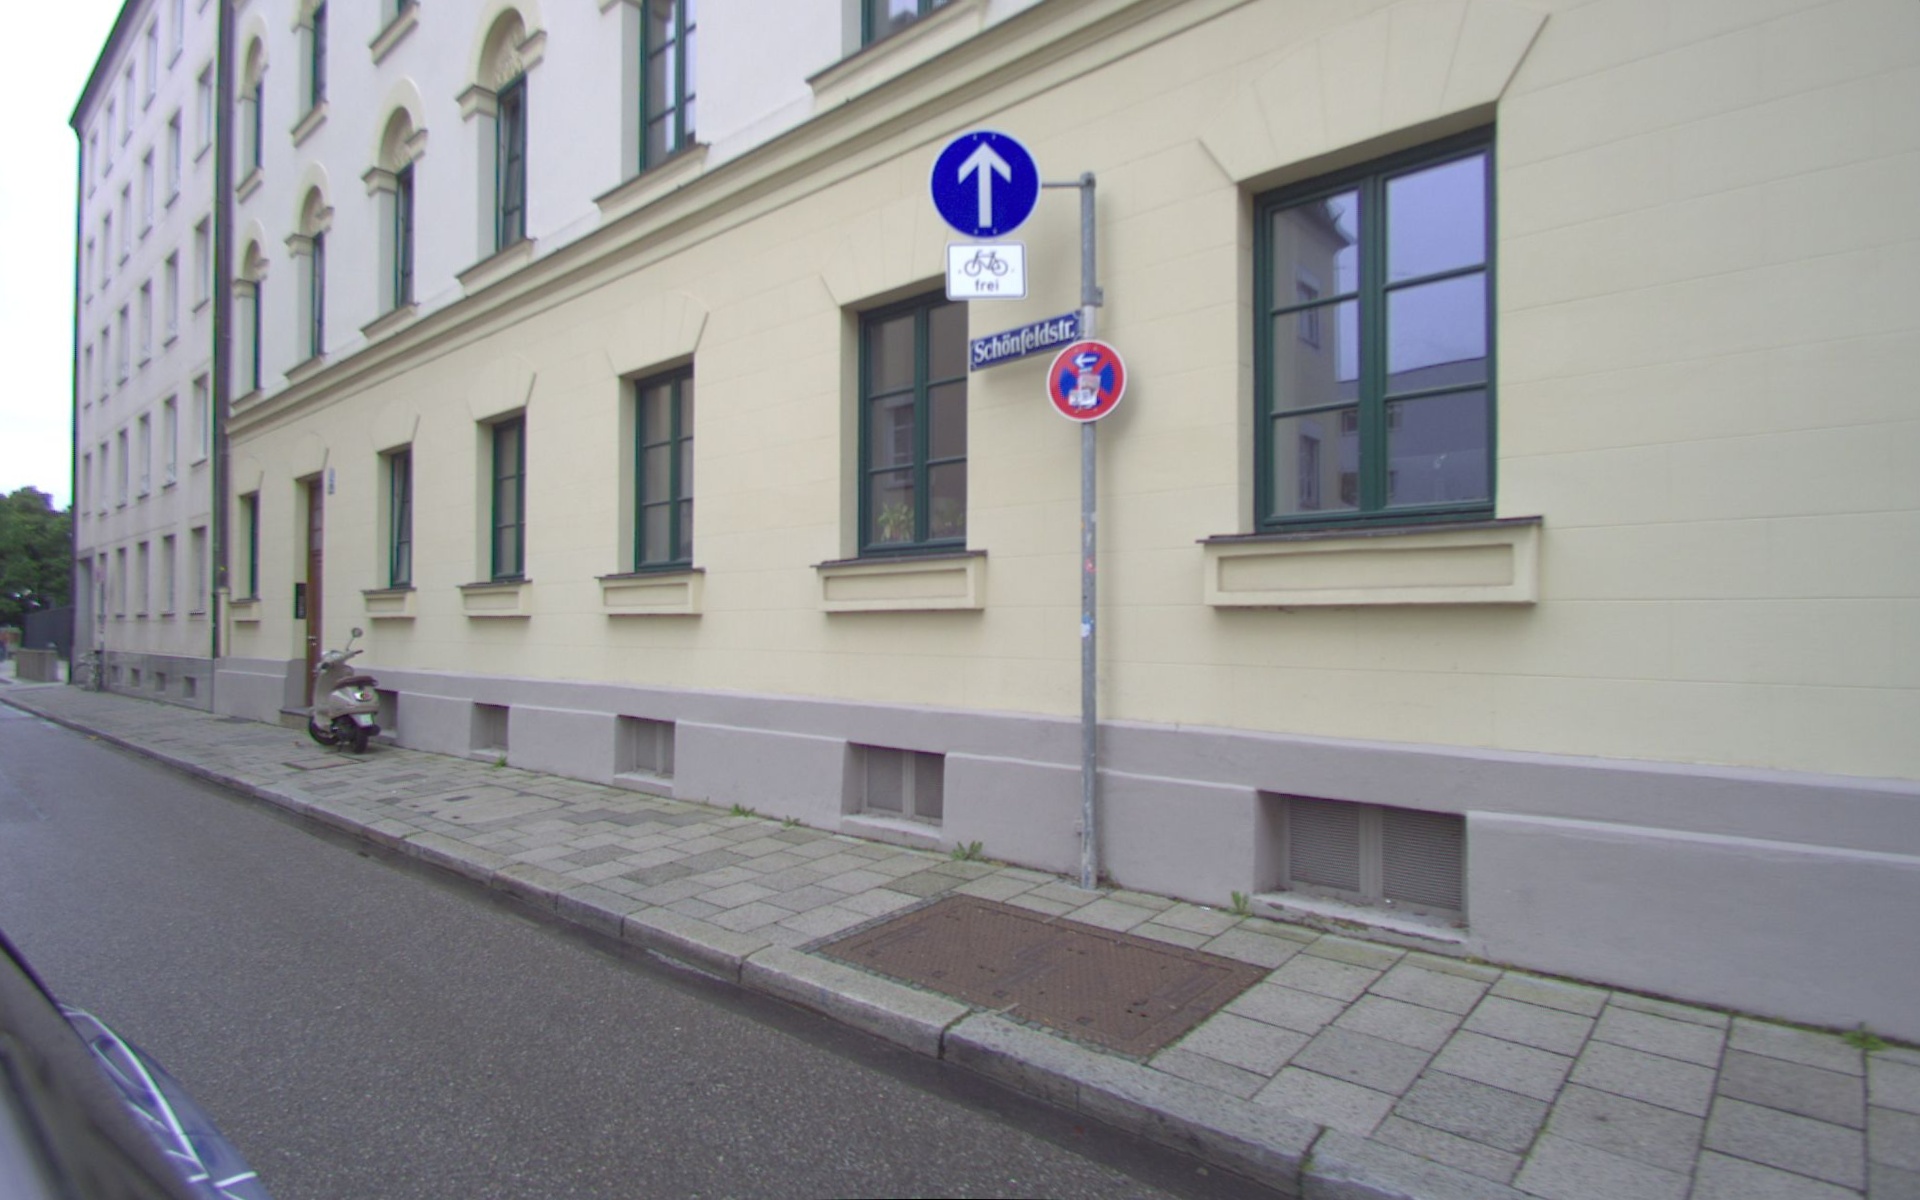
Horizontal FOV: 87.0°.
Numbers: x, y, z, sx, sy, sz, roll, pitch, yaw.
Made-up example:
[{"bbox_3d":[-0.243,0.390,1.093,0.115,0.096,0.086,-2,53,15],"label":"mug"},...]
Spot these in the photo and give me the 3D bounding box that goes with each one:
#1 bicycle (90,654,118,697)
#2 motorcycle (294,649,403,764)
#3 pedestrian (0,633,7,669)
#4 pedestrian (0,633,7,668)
[{"bbox_3d":[-20.452,1.794,24.167,1.574,0.951,0.316,-2,0,44],"label":"bicycle"},{"bbox_3d":[-6.925,1.156,11.430,1.708,1.183,0.595,-2,-2,42],"label":"motorcycle"},{"bbox_3d":[-57.842,3.066,60.493,1.117,2.120,1.209,-3,-4,44],"label":"pedestrian"},{"bbox_3d":[-47.968,2.517,50.334,0.814,1.736,0.906,-1,-2,-43],"label":"pedestrian"}]
